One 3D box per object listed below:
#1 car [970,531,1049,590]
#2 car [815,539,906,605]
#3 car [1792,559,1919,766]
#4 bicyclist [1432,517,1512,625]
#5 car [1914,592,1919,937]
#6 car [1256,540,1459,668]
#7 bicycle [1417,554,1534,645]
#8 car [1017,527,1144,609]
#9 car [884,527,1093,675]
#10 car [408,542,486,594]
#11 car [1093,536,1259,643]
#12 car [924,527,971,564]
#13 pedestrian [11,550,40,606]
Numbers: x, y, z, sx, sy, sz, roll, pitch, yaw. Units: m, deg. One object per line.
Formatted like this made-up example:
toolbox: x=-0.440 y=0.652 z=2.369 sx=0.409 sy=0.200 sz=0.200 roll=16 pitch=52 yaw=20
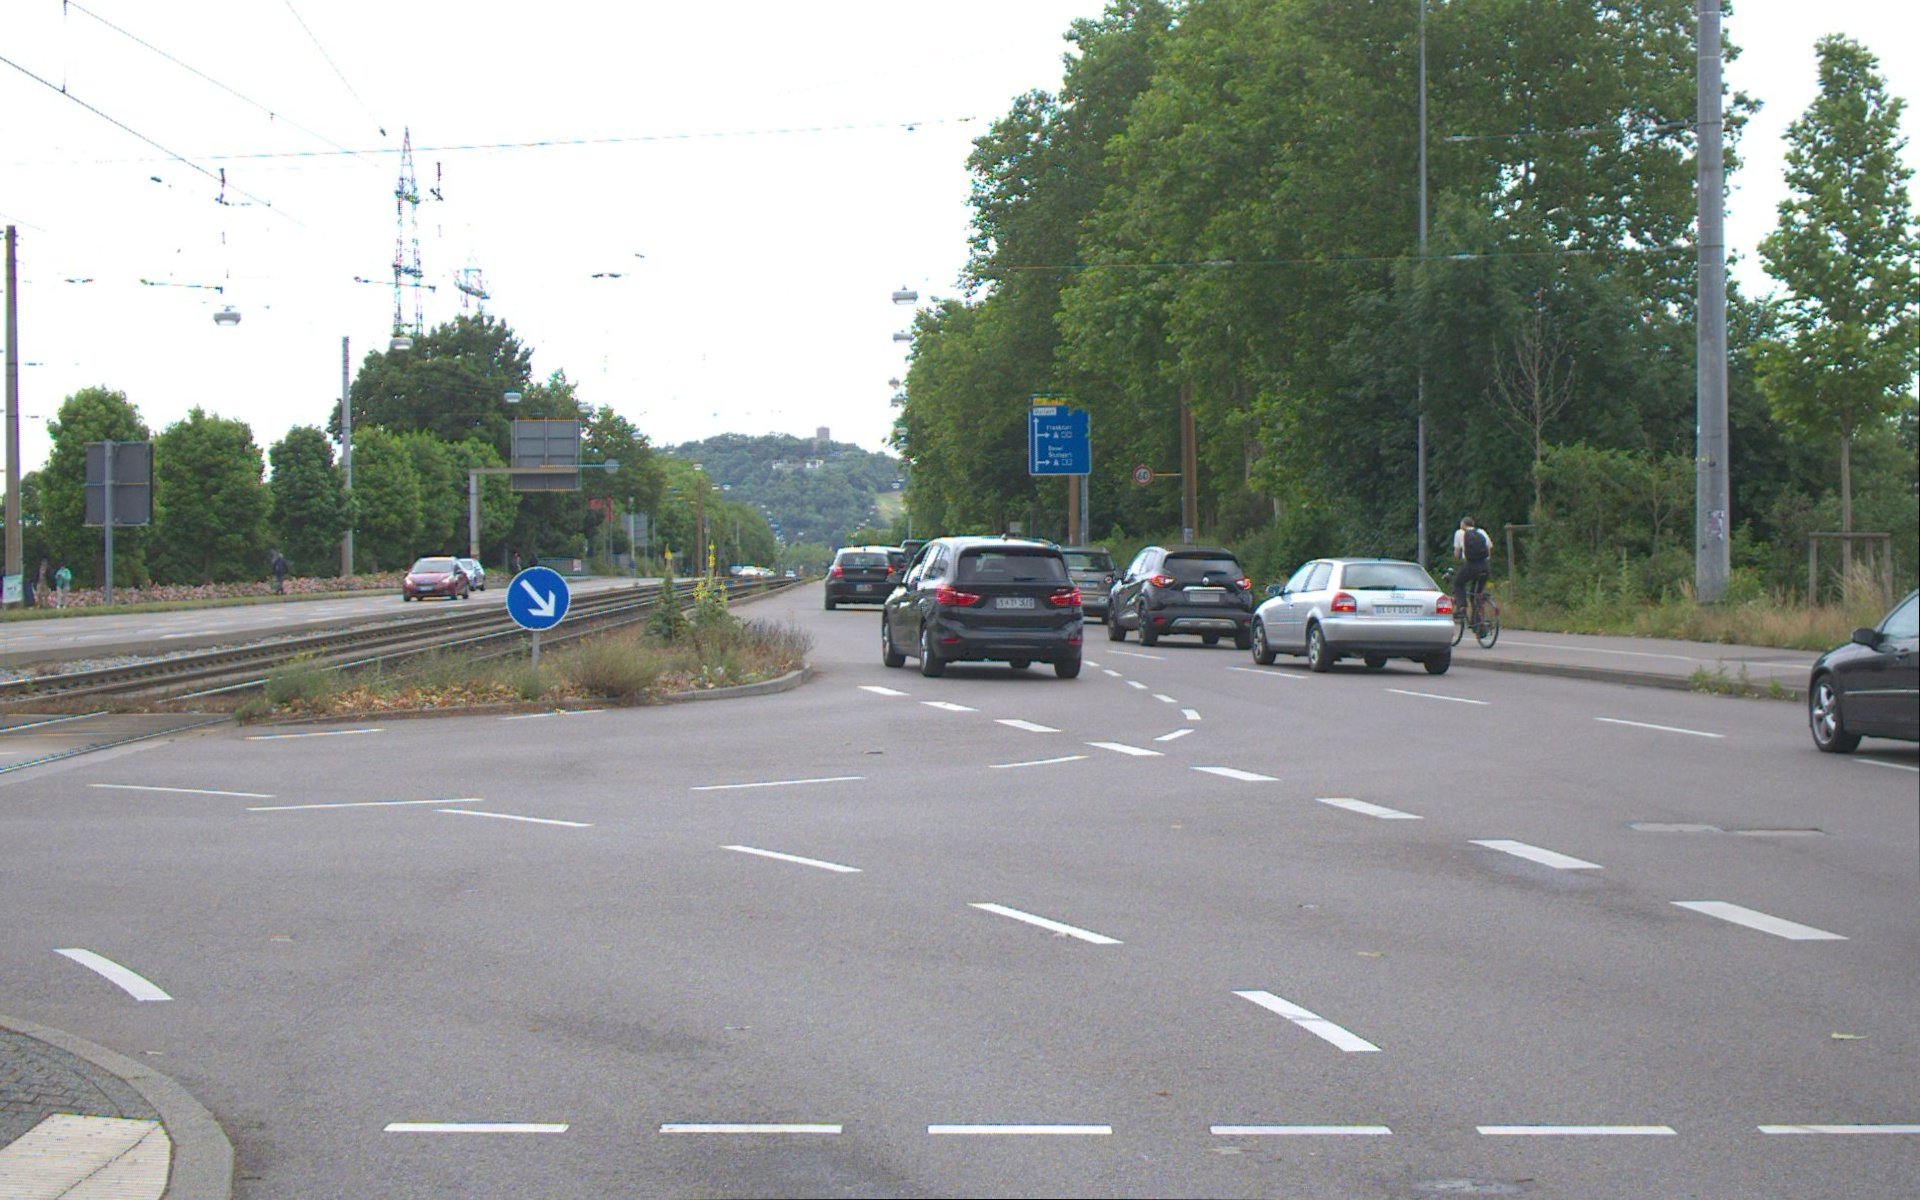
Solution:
car: x=1.258 y=-1.011 z=89.263 sx=1.815 sy=1.475 sz=3.672 roll=1 pitch=0 yaw=-3
car: x=-2.279 y=-0.655 z=78.083 sx=1.746 sy=1.426 sz=3.376 roll=1 pitch=1 yaw=-7
car: x=7.707 y=0.457 z=25.234 sx=1.734 sy=1.474 sz=4.320 roll=1 pitch=1 yaw=-6
bicyclist: x=7.256 y=-0.419 z=48.735 sx=0.816 sy=1.473 sz=1.000 roll=-2 pitch=2 yaw=-11
car: x=4.955 y=0.706 z=12.061 sx=1.737 sy=1.397 sz=4.078 roll=0 pitch=1 yaw=-5
car: x=4.961 y=0.019 z=43.359 sx=1.728 sy=1.504 sz=3.633 roll=1 pitch=1 yaw=-7
bicycle: x=7.296 y=-0.023 z=48.797 sx=0.816 sy=1.181 sz=2.523 roll=-2 pitch=2 yaw=-11
car: x=2.439 y=-0.652 z=70.656 sx=1.856 sy=1.556 sz=4.318 roll=2 pitch=0 yaw=-8
car: x=0.267 y=-0.015 z=39.987 sx=1.831 sy=1.631 sz=4.318 roll=0 pitch=1 yaw=-8
car: x=-17.382 y=-1.101 z=116.589 sx=1.993 sy=1.722 sz=4.000 roll=-1 pitch=1 yaw=0
car: x=3.341 y=-0.176 z=54.016 sx=1.856 sy=1.556 sz=4.318 roll=2 pitch=0 yaw=-6
car: x=-0.532 y=-2.306 z=145.171 sx=1.815 sy=1.475 sz=3.672 roll=1 pitch=0 yaw=-3
pedestrian: x=-28.008 y=-0.655 z=103.052 sx=0.544 sy=1.648 sz=0.613 roll=1 pitch=0 yaw=42
